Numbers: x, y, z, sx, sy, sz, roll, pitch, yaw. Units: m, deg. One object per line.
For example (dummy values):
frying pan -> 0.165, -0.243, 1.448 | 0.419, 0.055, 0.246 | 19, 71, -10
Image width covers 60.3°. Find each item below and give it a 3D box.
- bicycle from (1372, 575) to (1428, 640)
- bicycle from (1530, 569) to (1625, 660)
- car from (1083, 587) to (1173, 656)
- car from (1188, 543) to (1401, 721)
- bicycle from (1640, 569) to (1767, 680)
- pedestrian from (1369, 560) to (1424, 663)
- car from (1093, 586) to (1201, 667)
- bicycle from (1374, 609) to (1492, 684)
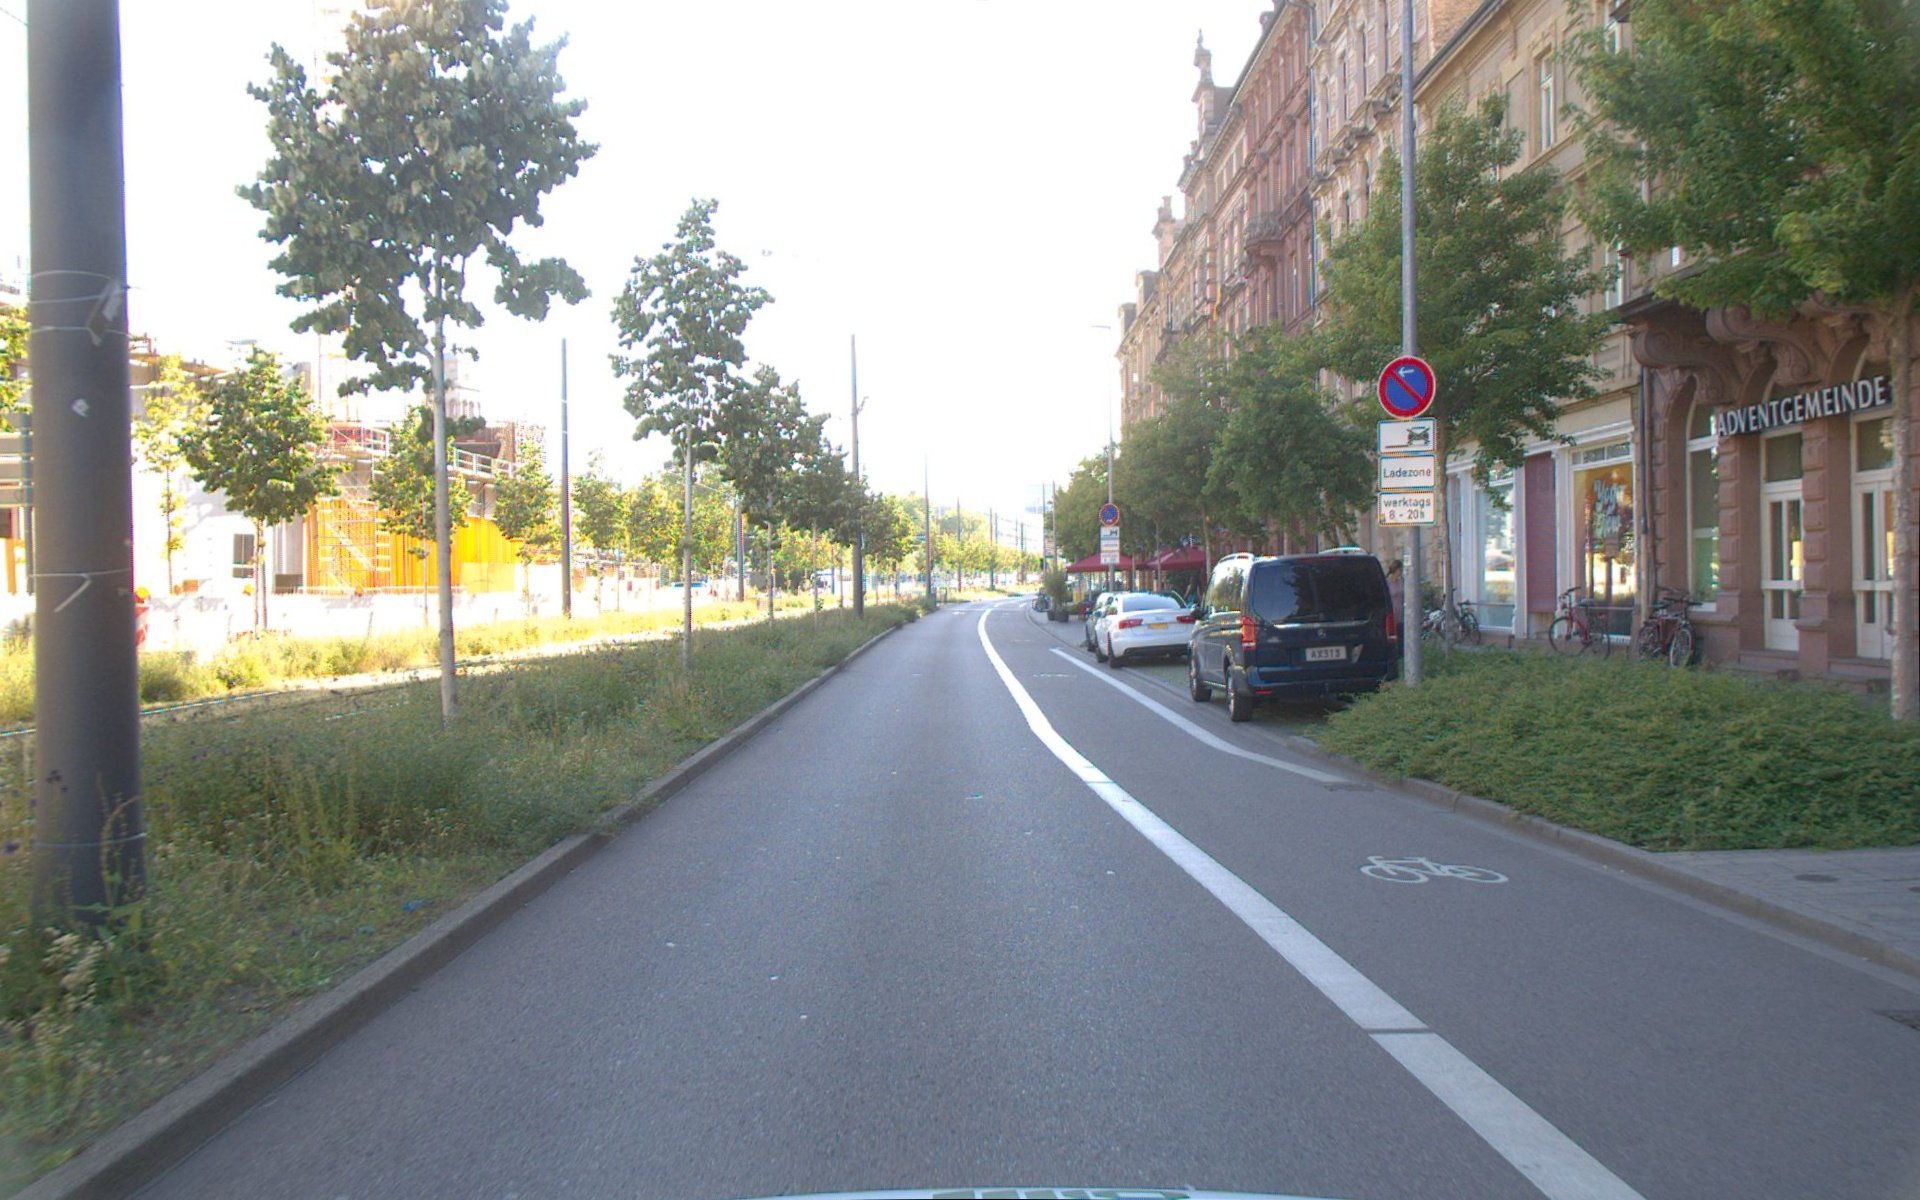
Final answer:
bicycle -> 10.248, 0.152, 38.609 | 0.647, 1.427, 2.352 | -1, 1, -1
bicycle -> 10.133, 0.206, 27.228 | 0.647, 1.427, 2.352 | -1, 1, -1
car -> 3.989, 0.483, 39.763 | 1.811, 1.483, 4.157 | -1, 1, 1
car -> 4.034, 0.308, 20.639 | 1.846, 1.971, 4.474 | 0, 1, 1
bicycle -> 10.195, 0.301, 22.766 | 0.647, 1.427, 2.352 | -1, 1, -1
pedestrian -> 6.402, 0.169, 24.273 | 0.612, 1.485, 0.638 | -1, 0, -1
car -> 3.784, 0.496, 34.048 | 1.811, 1.483, 4.157 | -1, 1, 1
bicycle -> 7.551, 0.716, 26.565 | 1.059, 1.103, 2.769 | 0, 0, -1
